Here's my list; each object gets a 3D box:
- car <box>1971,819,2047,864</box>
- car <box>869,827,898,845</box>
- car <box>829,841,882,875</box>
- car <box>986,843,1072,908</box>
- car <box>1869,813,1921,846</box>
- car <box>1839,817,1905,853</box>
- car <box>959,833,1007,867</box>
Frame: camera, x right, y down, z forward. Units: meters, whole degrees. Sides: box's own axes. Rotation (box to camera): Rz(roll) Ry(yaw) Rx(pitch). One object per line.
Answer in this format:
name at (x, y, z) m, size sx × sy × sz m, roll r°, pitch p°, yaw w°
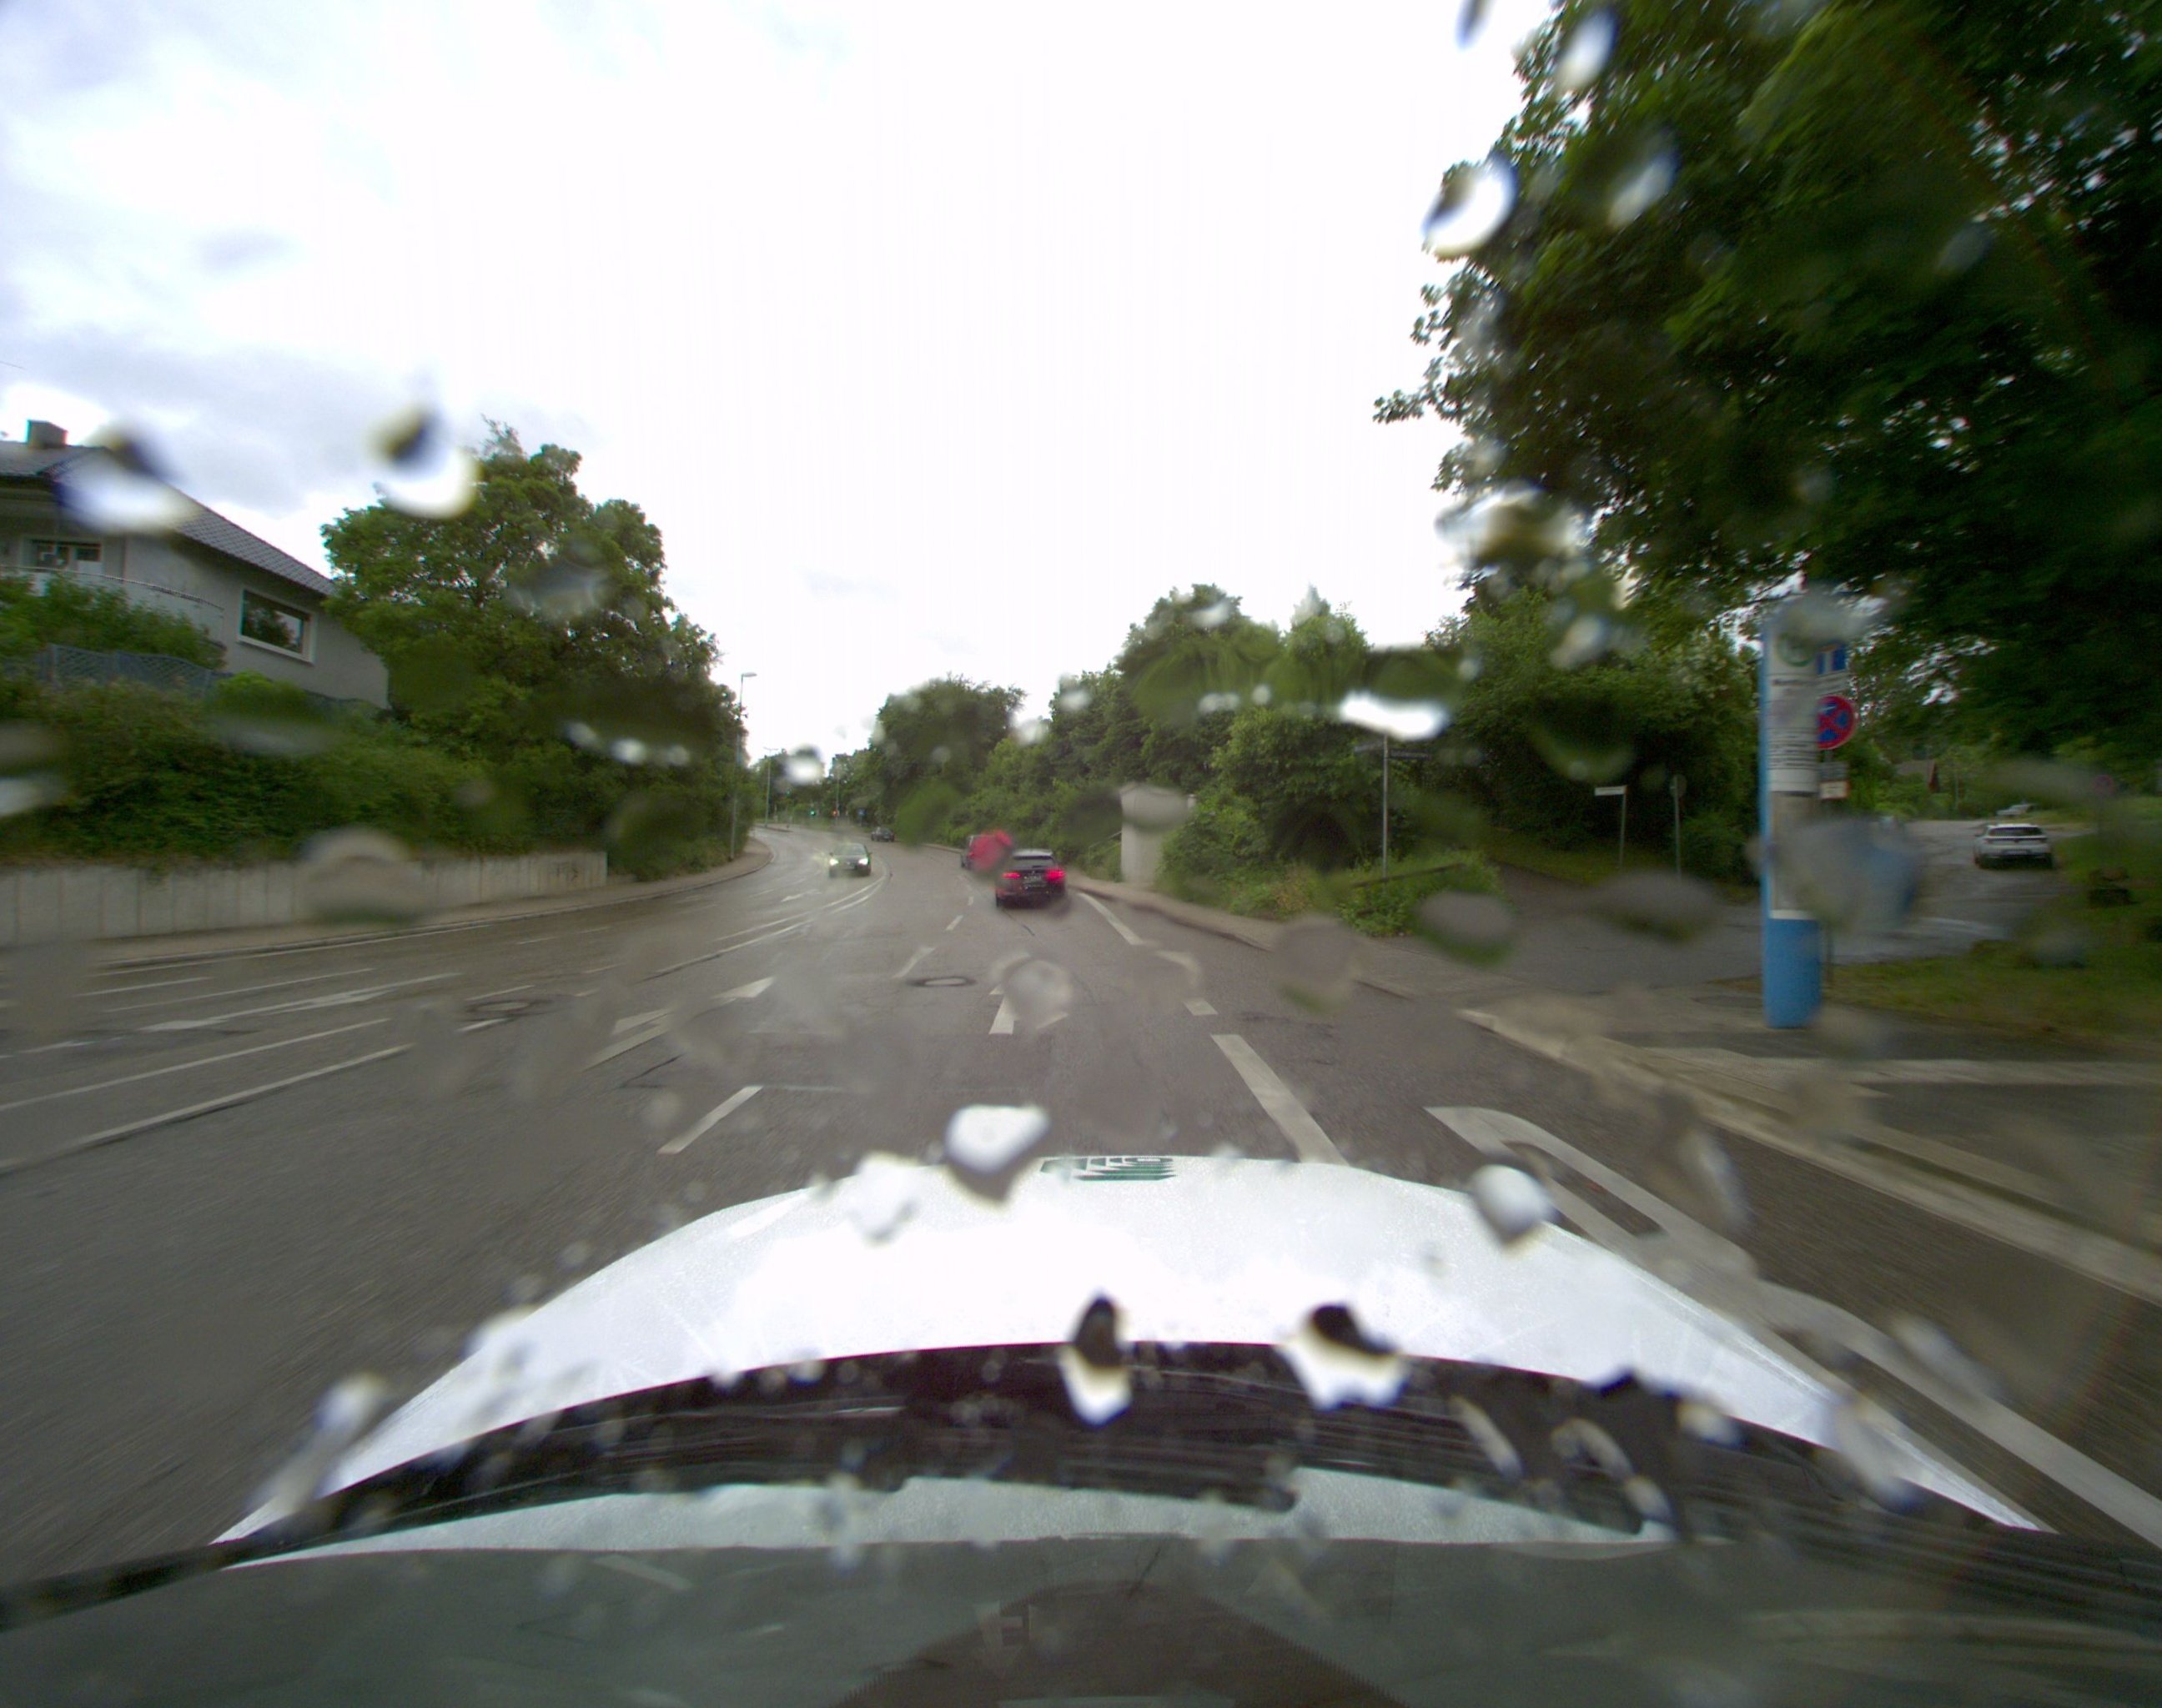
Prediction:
car at (35.562, -0.466, 31.193) m, size 4.021 × 1.621 × 1.833 m, roll -1°, pitch 0°, yaw -40°
car at (-19.905, -1.768, 82.118) m, size 1.862 × 1.662 × 3.963 m, roll 2°, pitch -1°, yaw -29°
car at (-10.466, 0.179, 38.034) m, size 1.892 × 1.487 × 4.220 m, roll -1°, pitch 0°, yaw -9°
car at (-1.553, 0.523, 22.588) m, size 1.993 × 1.586 × 4.650 m, roll 1°, pitch 0°, yaw -9°
car at (46.890, -1.373, 46.899) m, size 4.022 × 1.596 × 1.975 m, roll 3°, pitch -4°, yaw -44°
car at (40.708, -0.932, 41.871) m, size 4.020 × 1.596 × 1.976 m, roll 2°, pitch -4°, yaw -40°
car at (-5.294, -0.231, 43.596) m, size 1.997 × 1.748 × 3.979 m, roll 0°, pitch 1°, yaw -16°
